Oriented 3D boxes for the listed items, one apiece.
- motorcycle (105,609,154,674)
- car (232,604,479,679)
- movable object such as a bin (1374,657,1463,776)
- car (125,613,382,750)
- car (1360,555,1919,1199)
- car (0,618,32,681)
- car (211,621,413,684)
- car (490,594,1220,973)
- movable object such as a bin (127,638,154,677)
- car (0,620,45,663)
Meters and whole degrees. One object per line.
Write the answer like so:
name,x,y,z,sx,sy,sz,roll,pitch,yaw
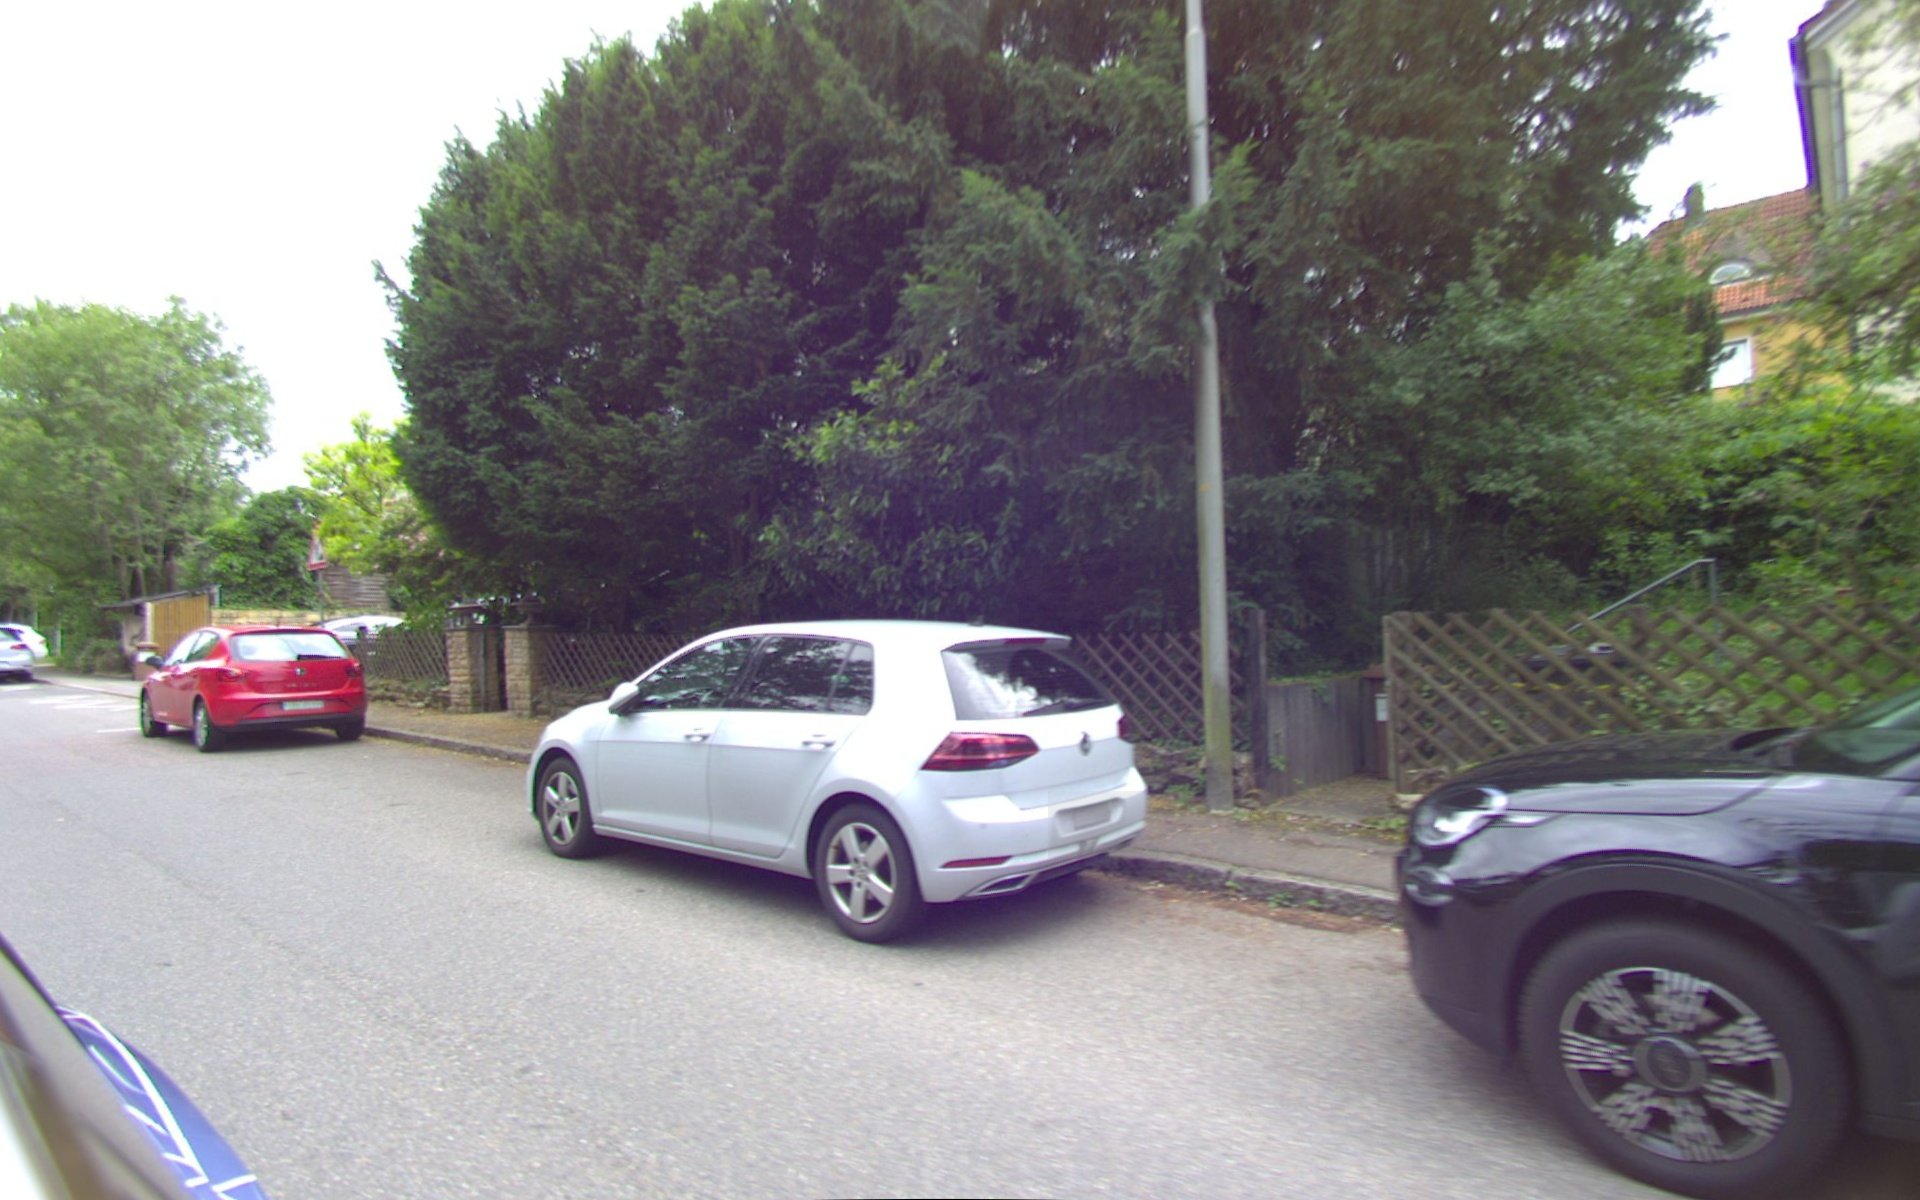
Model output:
motorcycle,-20.840,1.033,25.372,1.909,1.594,0.478,-2,-1,36
car,-13.923,0.899,23.538,1.889,1.397,4.558,-3,0,41
movable object such as a bin,3.646,0.909,8.043,0.455,0.865,0.598,-4,-2,41
car,-8.913,0.924,12.668,3.784,1.450,1.719,-2,-1,40
car,3.234,0.646,2.233,4.013,1.511,1.765,-2,-1,41
car,-24.272,1.209,24.627,4.035,1.460,1.744,-2,-1,36
car,-16.530,1.404,25.968,1.820,1.397,3.916,-3,-7,37
car,-0.877,0.755,5.955,4.320,1.450,1.765,-2,-1,40
movable object such as a bin,-19.716,1.384,24.349,0.556,0.931,0.362,-2,-5,43
car,-39.677,1.685,40.244,1.997,1.701,4.650,-2,-1,38
